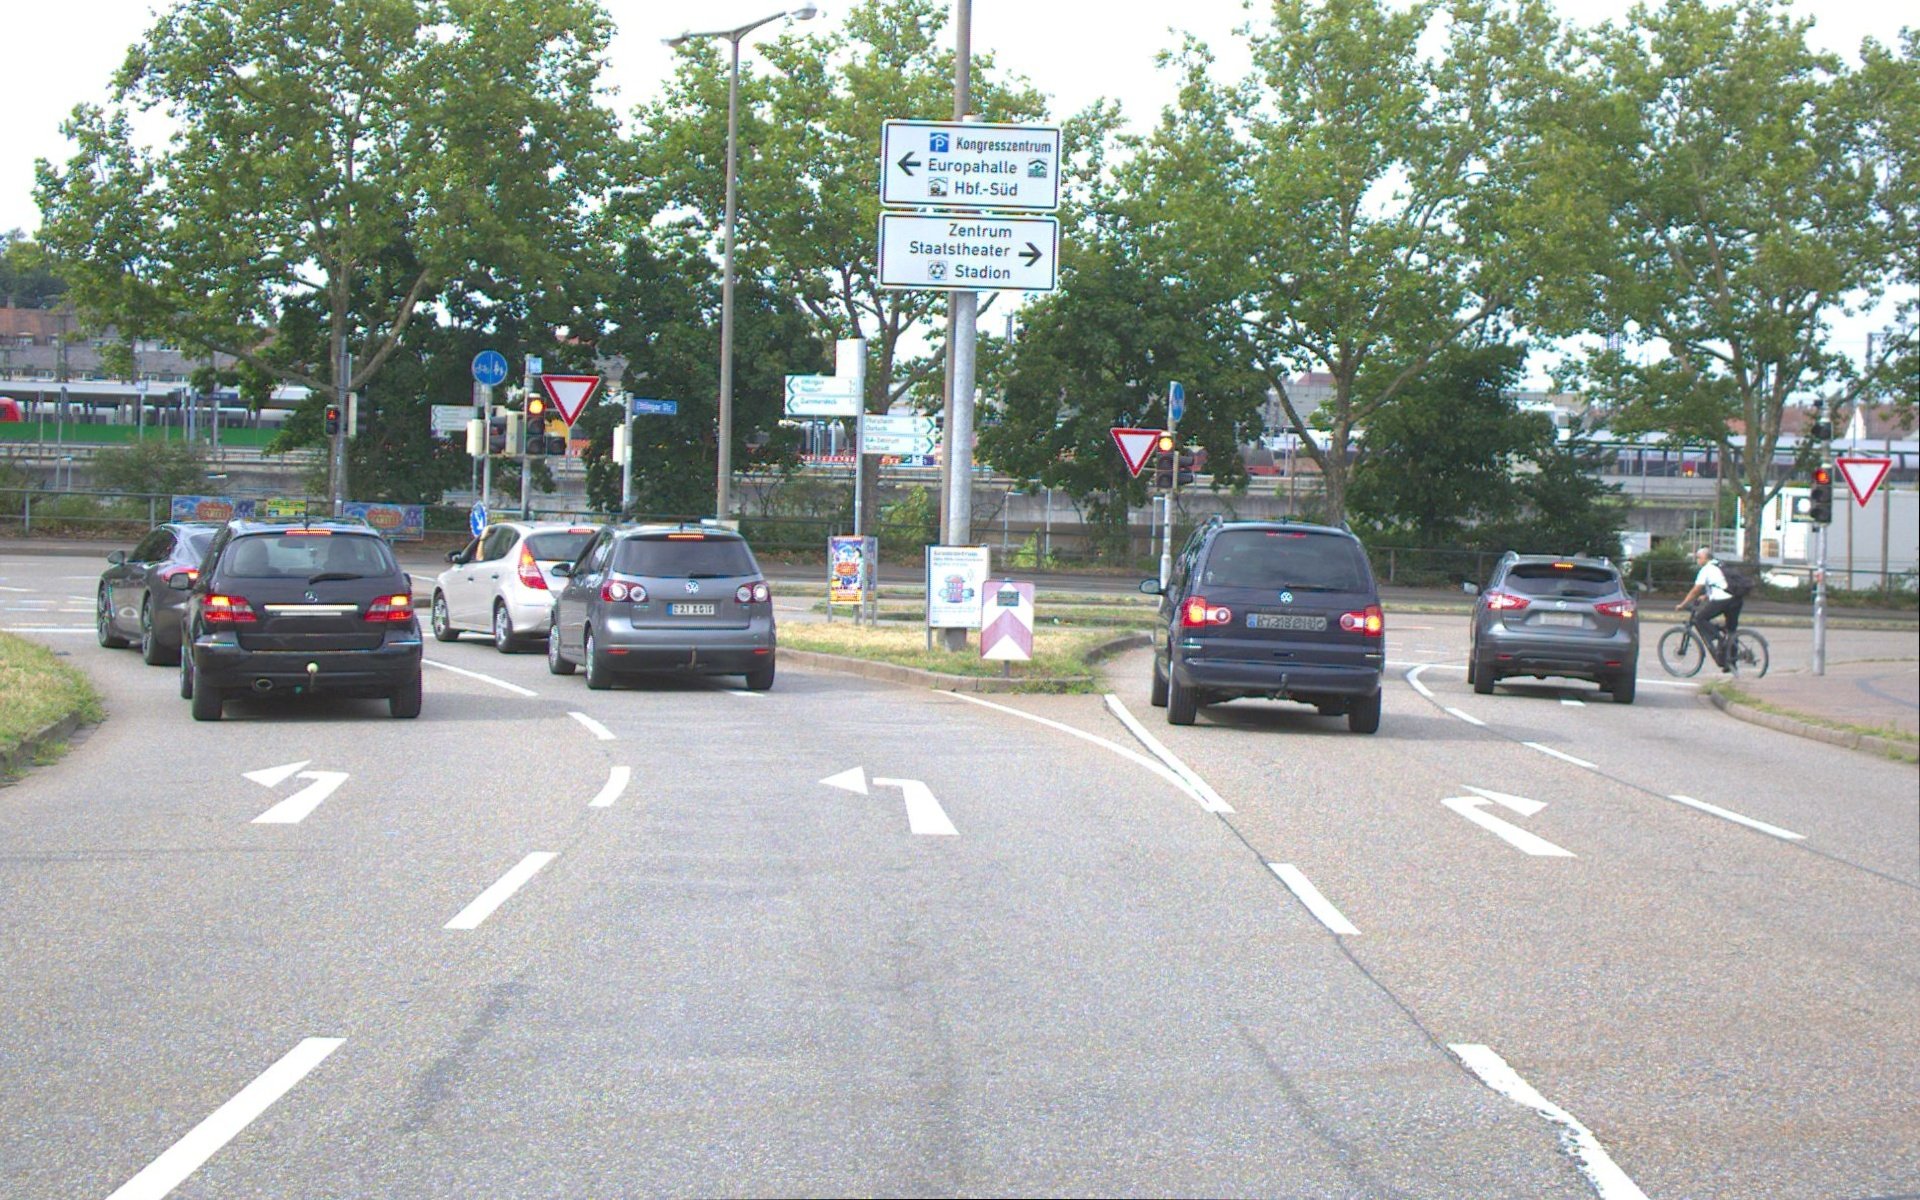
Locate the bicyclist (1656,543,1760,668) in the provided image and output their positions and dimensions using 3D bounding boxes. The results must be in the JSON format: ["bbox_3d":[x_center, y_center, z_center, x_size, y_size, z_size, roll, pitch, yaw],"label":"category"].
[{"bbox_3d":[10.458,0.069,48.091,0.811,1.690,1.115,0,2,-40],"label":"bicyclist"}]

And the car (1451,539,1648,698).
[{"bbox_3d":[6.747,0.169,39.704,1.750,1.637,4.137,3,1,4],"label":"car"}]

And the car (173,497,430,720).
[{"bbox_3d":[-5.474,0.013,28.235,1.756,1.570,4.038,2,2,-15],"label":"car"}]

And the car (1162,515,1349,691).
[{"bbox_3d":[2.995,0.000,34.998,1.691,1.580,4.156,4,1,5],"label":"car"}]

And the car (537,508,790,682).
[{"bbox_3d":[-2.940,-0.095,33.309,1.740,1.541,4.083,1,1,-15],"label":"car"}]

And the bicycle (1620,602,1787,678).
[{"bbox_3d":[10.398,0.546,48.154,0.809,0.949,2.235,0,2,-40],"label":"bicycle"}]

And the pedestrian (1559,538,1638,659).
[{"bbox_3d":[9.392,-0.028,50.576,1.047,1.704,0.853,3,2,11],"label":"pedestrian"}]

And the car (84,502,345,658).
[{"bbox_3d":[-7.842,-0.245,35.816,1.818,1.409,4.778,1,2,-22],"label":"car"}]

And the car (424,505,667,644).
[{"bbox_3d":[-4.850,-0.323,39.752,1.740,1.477,4.083,1,2,-22],"label":"car"}]

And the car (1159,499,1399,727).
[{"bbox_3d":[2.669,0.068,29.566,1.750,1.719,4.138,3,1,2],"label":"car"}]
